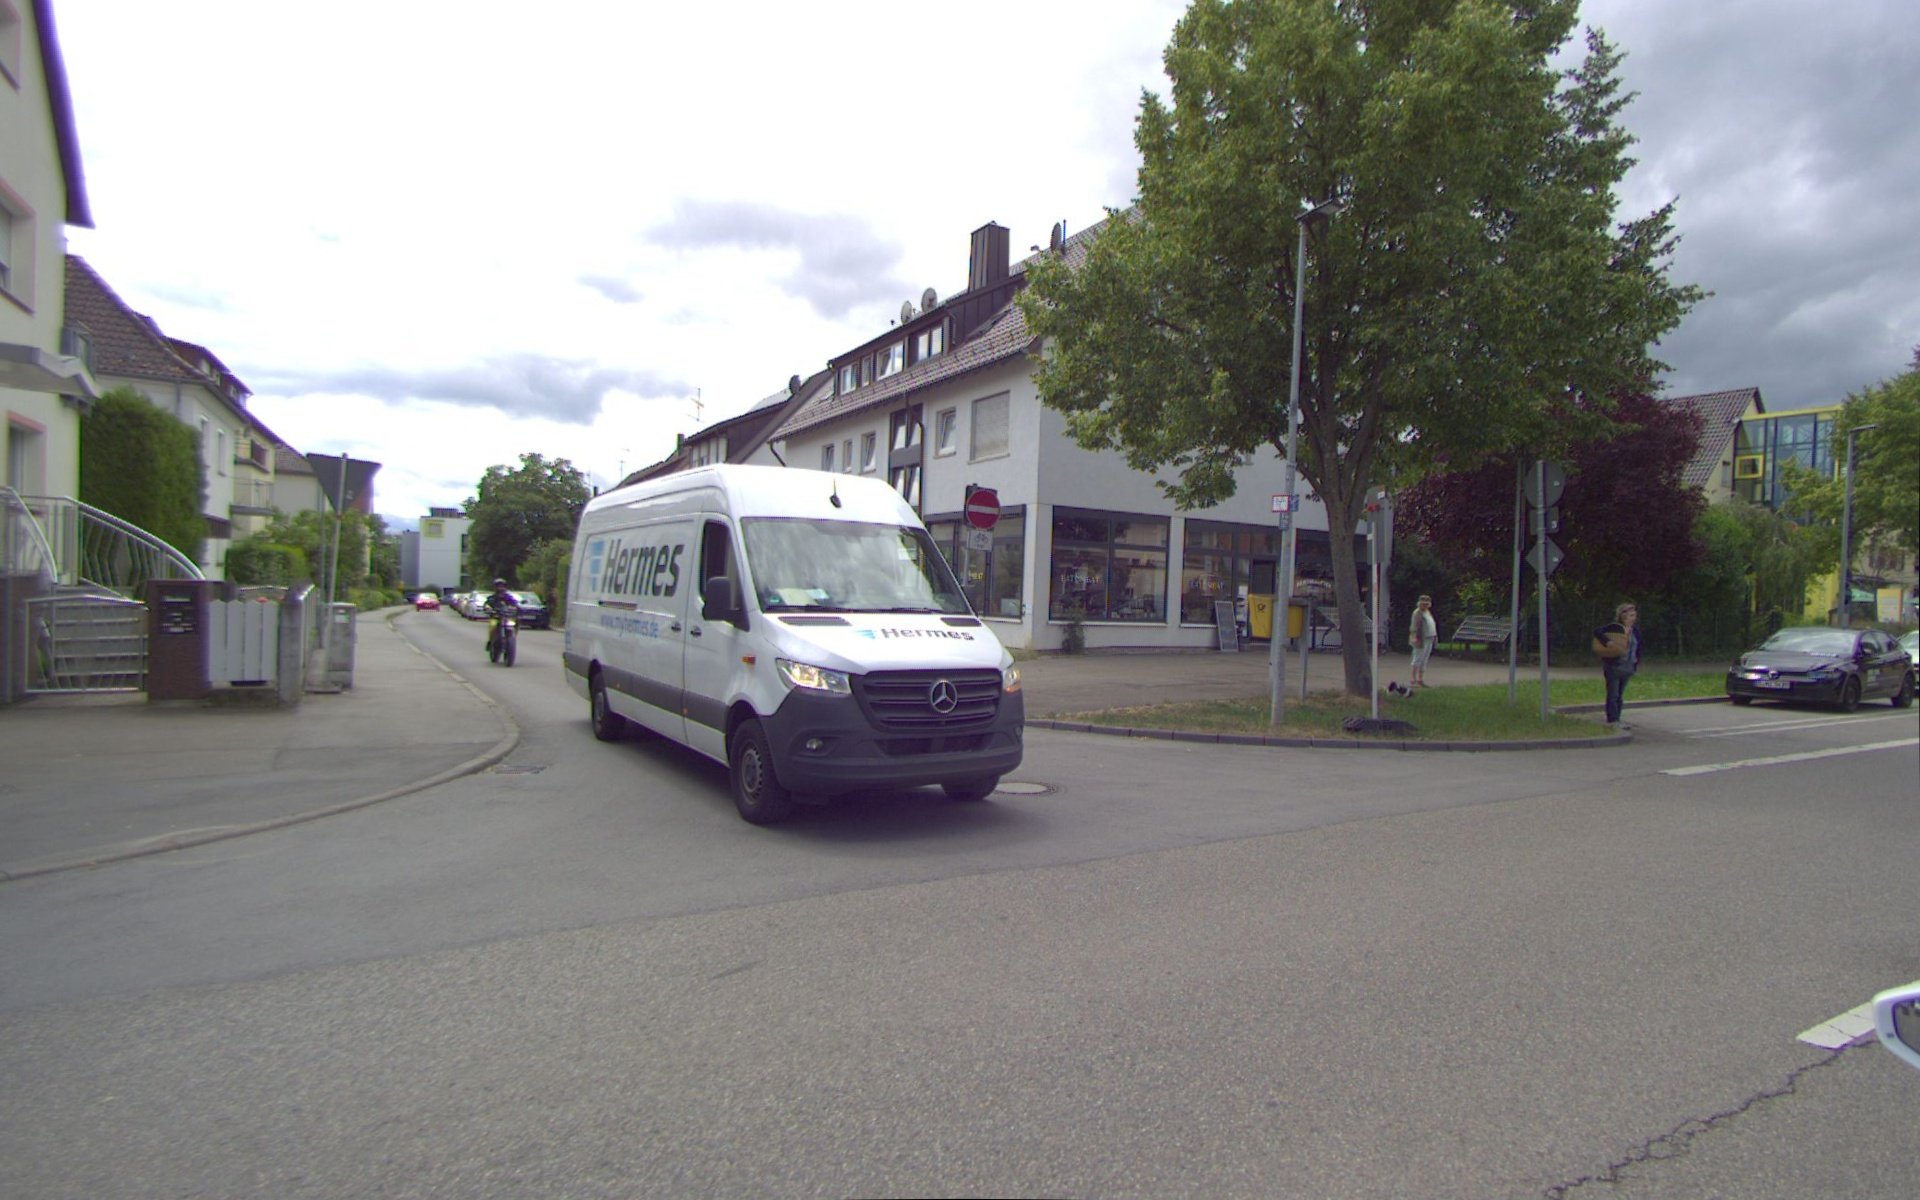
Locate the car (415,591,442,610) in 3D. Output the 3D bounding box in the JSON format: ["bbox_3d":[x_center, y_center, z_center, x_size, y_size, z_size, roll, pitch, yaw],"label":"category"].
[{"bbox_3d":[-43.419,0.029,82.158,1.849,1.496,3.741,1,0,-27],"label":"car"}]

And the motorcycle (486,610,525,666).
[{"bbox_3d":[-9.225,0.746,20.354,0.475,1.045,2.102,1,0,-31],"label":"motorcycle"}]

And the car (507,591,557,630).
[{"bbox_3d":[-17.429,0.396,40.825,1.637,1.524,3.741,0,0,-27],"label":"car"}]

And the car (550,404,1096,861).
[{"bbox_3d":[-1.952,0.153,9.434,2.196,2.629,7.246,1,0,-33],"label":"car"}]

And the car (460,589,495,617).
[{"bbox_3d":[-29.147,0.148,60.629,1.849,1.618,3.741,0,0,-27],"label":"car"}]

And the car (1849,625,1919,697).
[{"bbox_3d":[21.190,1.290,21.664,4.247,1.425,1.707,1,0,-29],"label":"car"}]

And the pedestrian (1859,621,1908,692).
[{"bbox_3d":[20.632,1.246,22.452,0.572,1.549,0.698,1,0,24],"label":"pedestrian"}]

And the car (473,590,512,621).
[{"bbox_3d":[-24.008,0.269,51.523,1.751,1.556,3.741,0,0,-27],"label":"car"}]

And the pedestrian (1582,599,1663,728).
[{"bbox_3d":[9.031,0.843,13.697,0.739,1.704,0.541,0,3,-22],"label":"pedestrian"}]

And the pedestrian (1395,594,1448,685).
[{"bbox_3d":[8.188,0.687,17.824,0.797,1.572,0.428,1,1,-30],"label":"pedestrian"}]

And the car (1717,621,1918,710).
[{"bbox_3d":[15.592,1.128,18.227,3.975,1.439,1.634,1,0,-32],"label":"car"}]

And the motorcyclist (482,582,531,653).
[{"bbox_3d":[-9.150,0.335,20.254,0.745,1.383,1.100,1,0,-31],"label":"motorcyclist"}]
